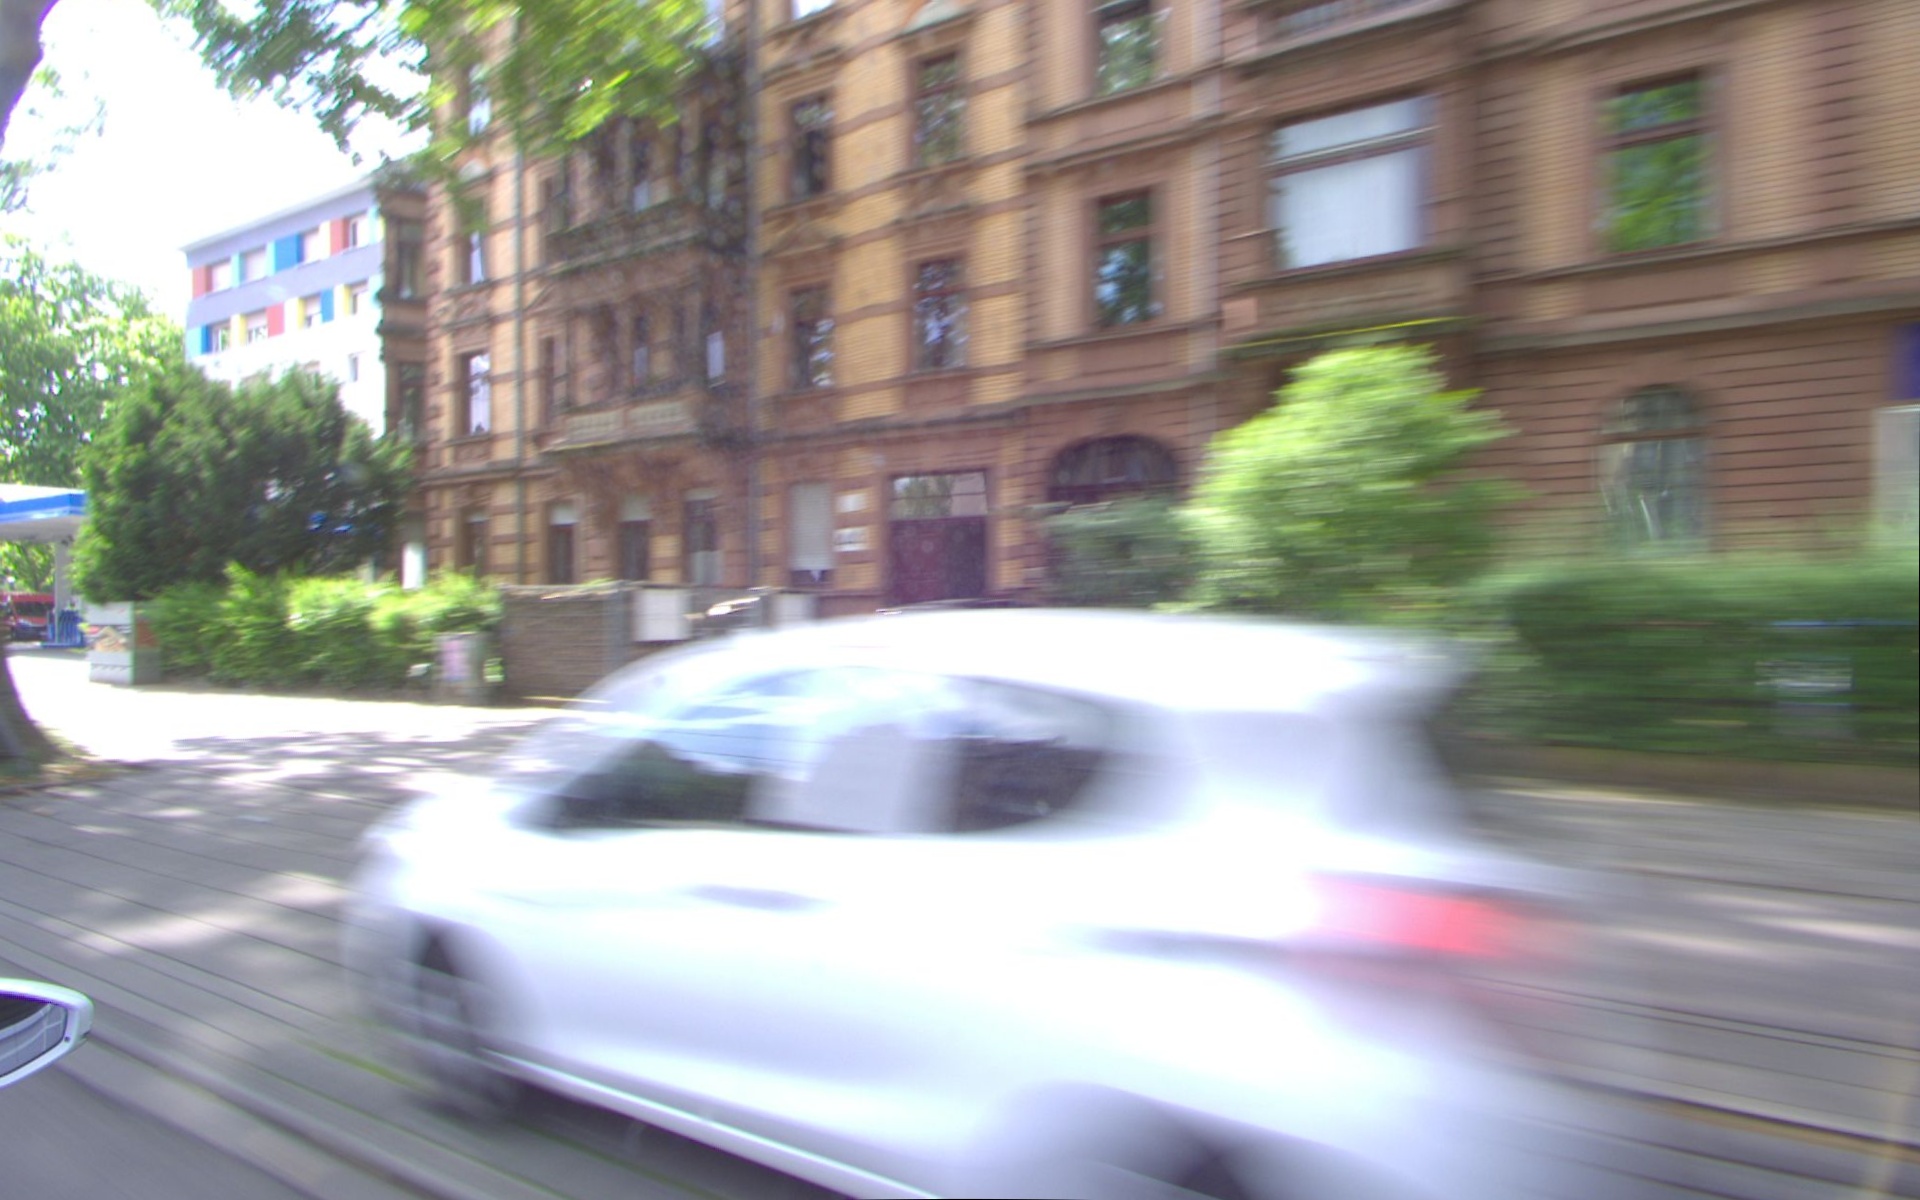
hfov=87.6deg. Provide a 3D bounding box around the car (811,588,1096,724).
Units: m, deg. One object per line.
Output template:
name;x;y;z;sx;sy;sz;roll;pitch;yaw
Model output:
car;0.109;0.601;13.287;1.913;1.489;4.227;0;1;30

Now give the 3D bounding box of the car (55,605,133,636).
car;-47.814;1.132;55.271;4.585;1.672;2.003;0;-2;32

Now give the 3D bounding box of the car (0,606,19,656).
car;-30.530;0.910;30.374;3.941;1.474;1.804;0;-1;30

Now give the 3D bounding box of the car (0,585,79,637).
car;-48.595;0.557;52.458;5.932;2.616;2.108;0;0;32

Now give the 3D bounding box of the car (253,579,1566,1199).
car;-0.350;0.740;3.159;3.800;1.506;1.550;0;4;30
